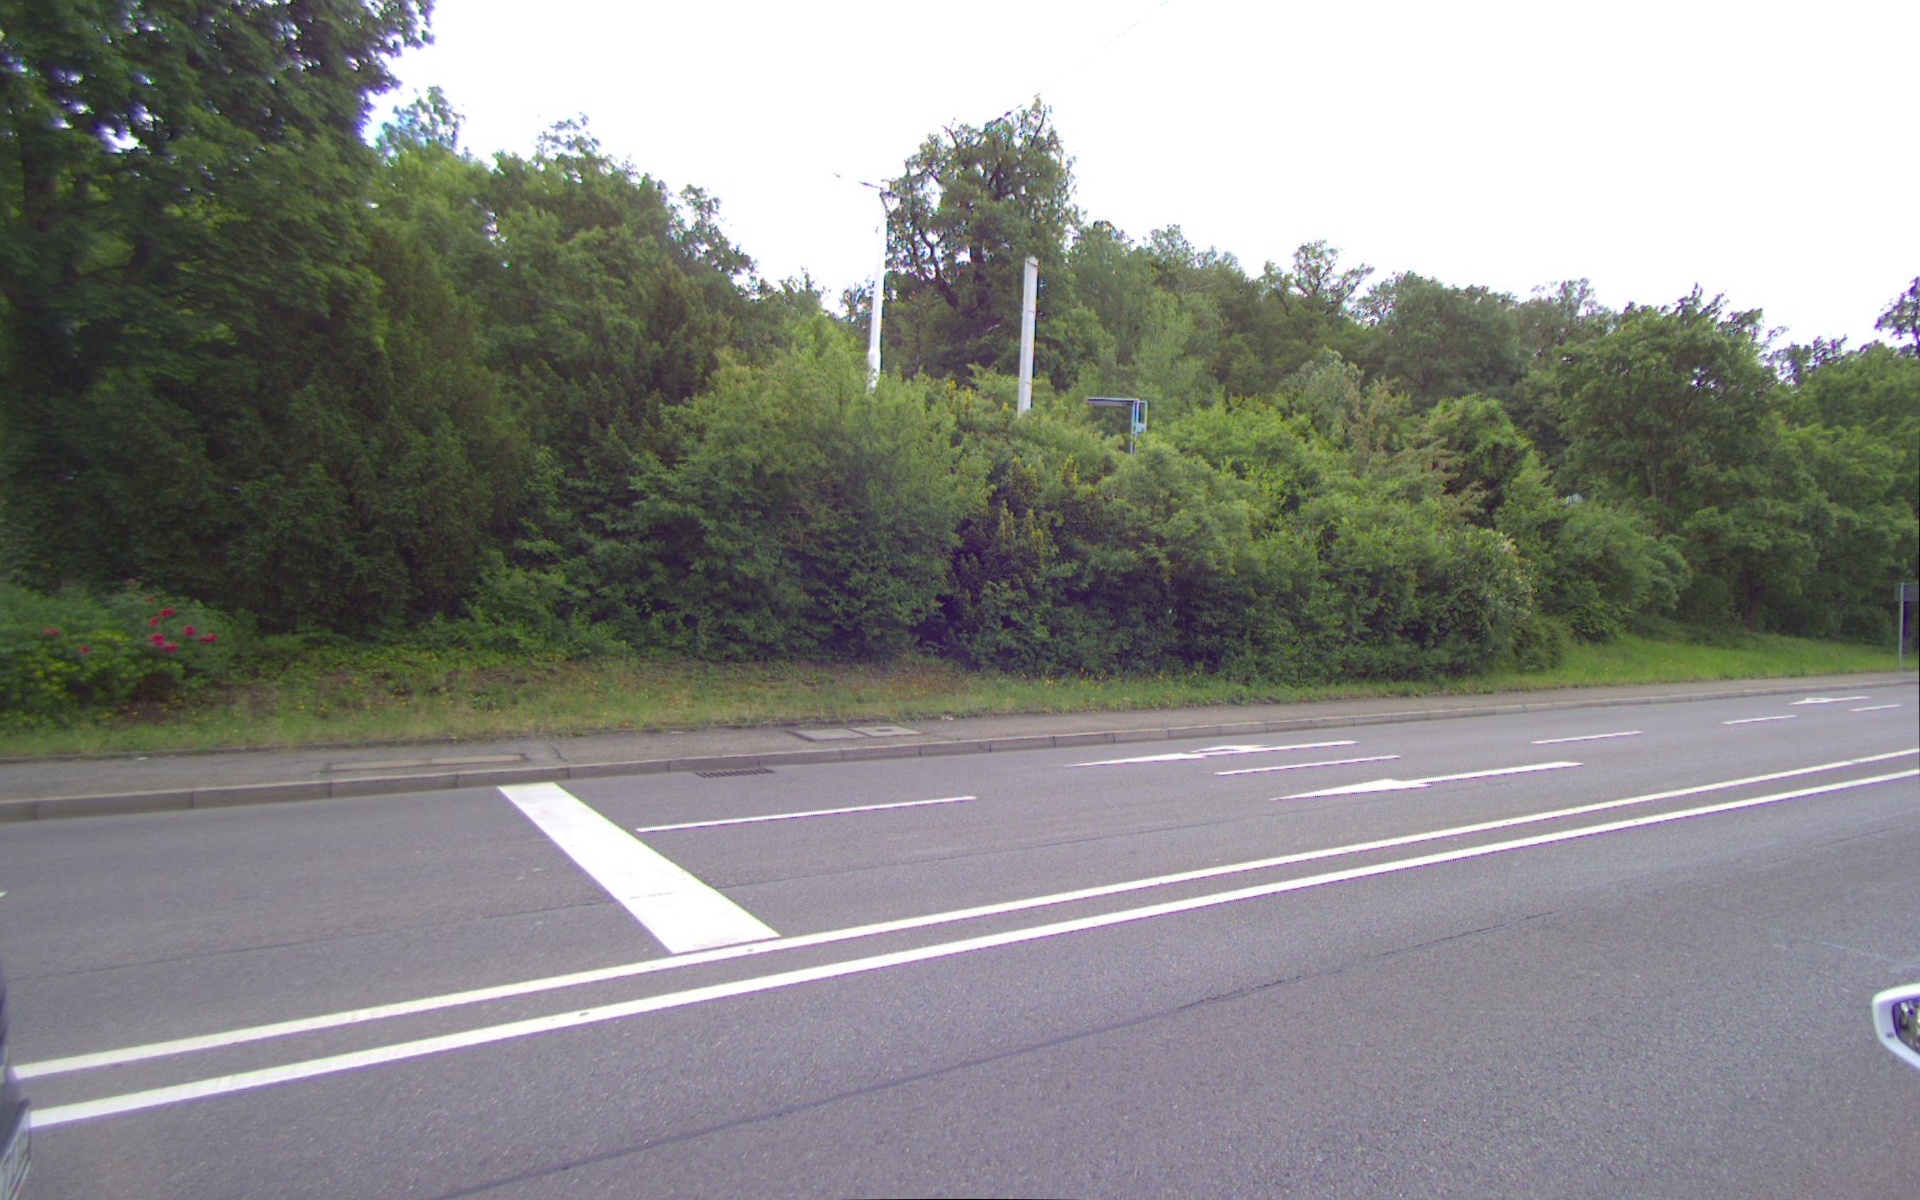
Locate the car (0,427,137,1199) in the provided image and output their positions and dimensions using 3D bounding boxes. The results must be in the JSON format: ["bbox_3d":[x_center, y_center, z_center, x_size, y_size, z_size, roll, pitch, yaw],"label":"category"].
[{"bbox_3d":[-3.346,0.535,0.479,4.309,1.673,1.839,1,-1,-32],"label":"car"}]
